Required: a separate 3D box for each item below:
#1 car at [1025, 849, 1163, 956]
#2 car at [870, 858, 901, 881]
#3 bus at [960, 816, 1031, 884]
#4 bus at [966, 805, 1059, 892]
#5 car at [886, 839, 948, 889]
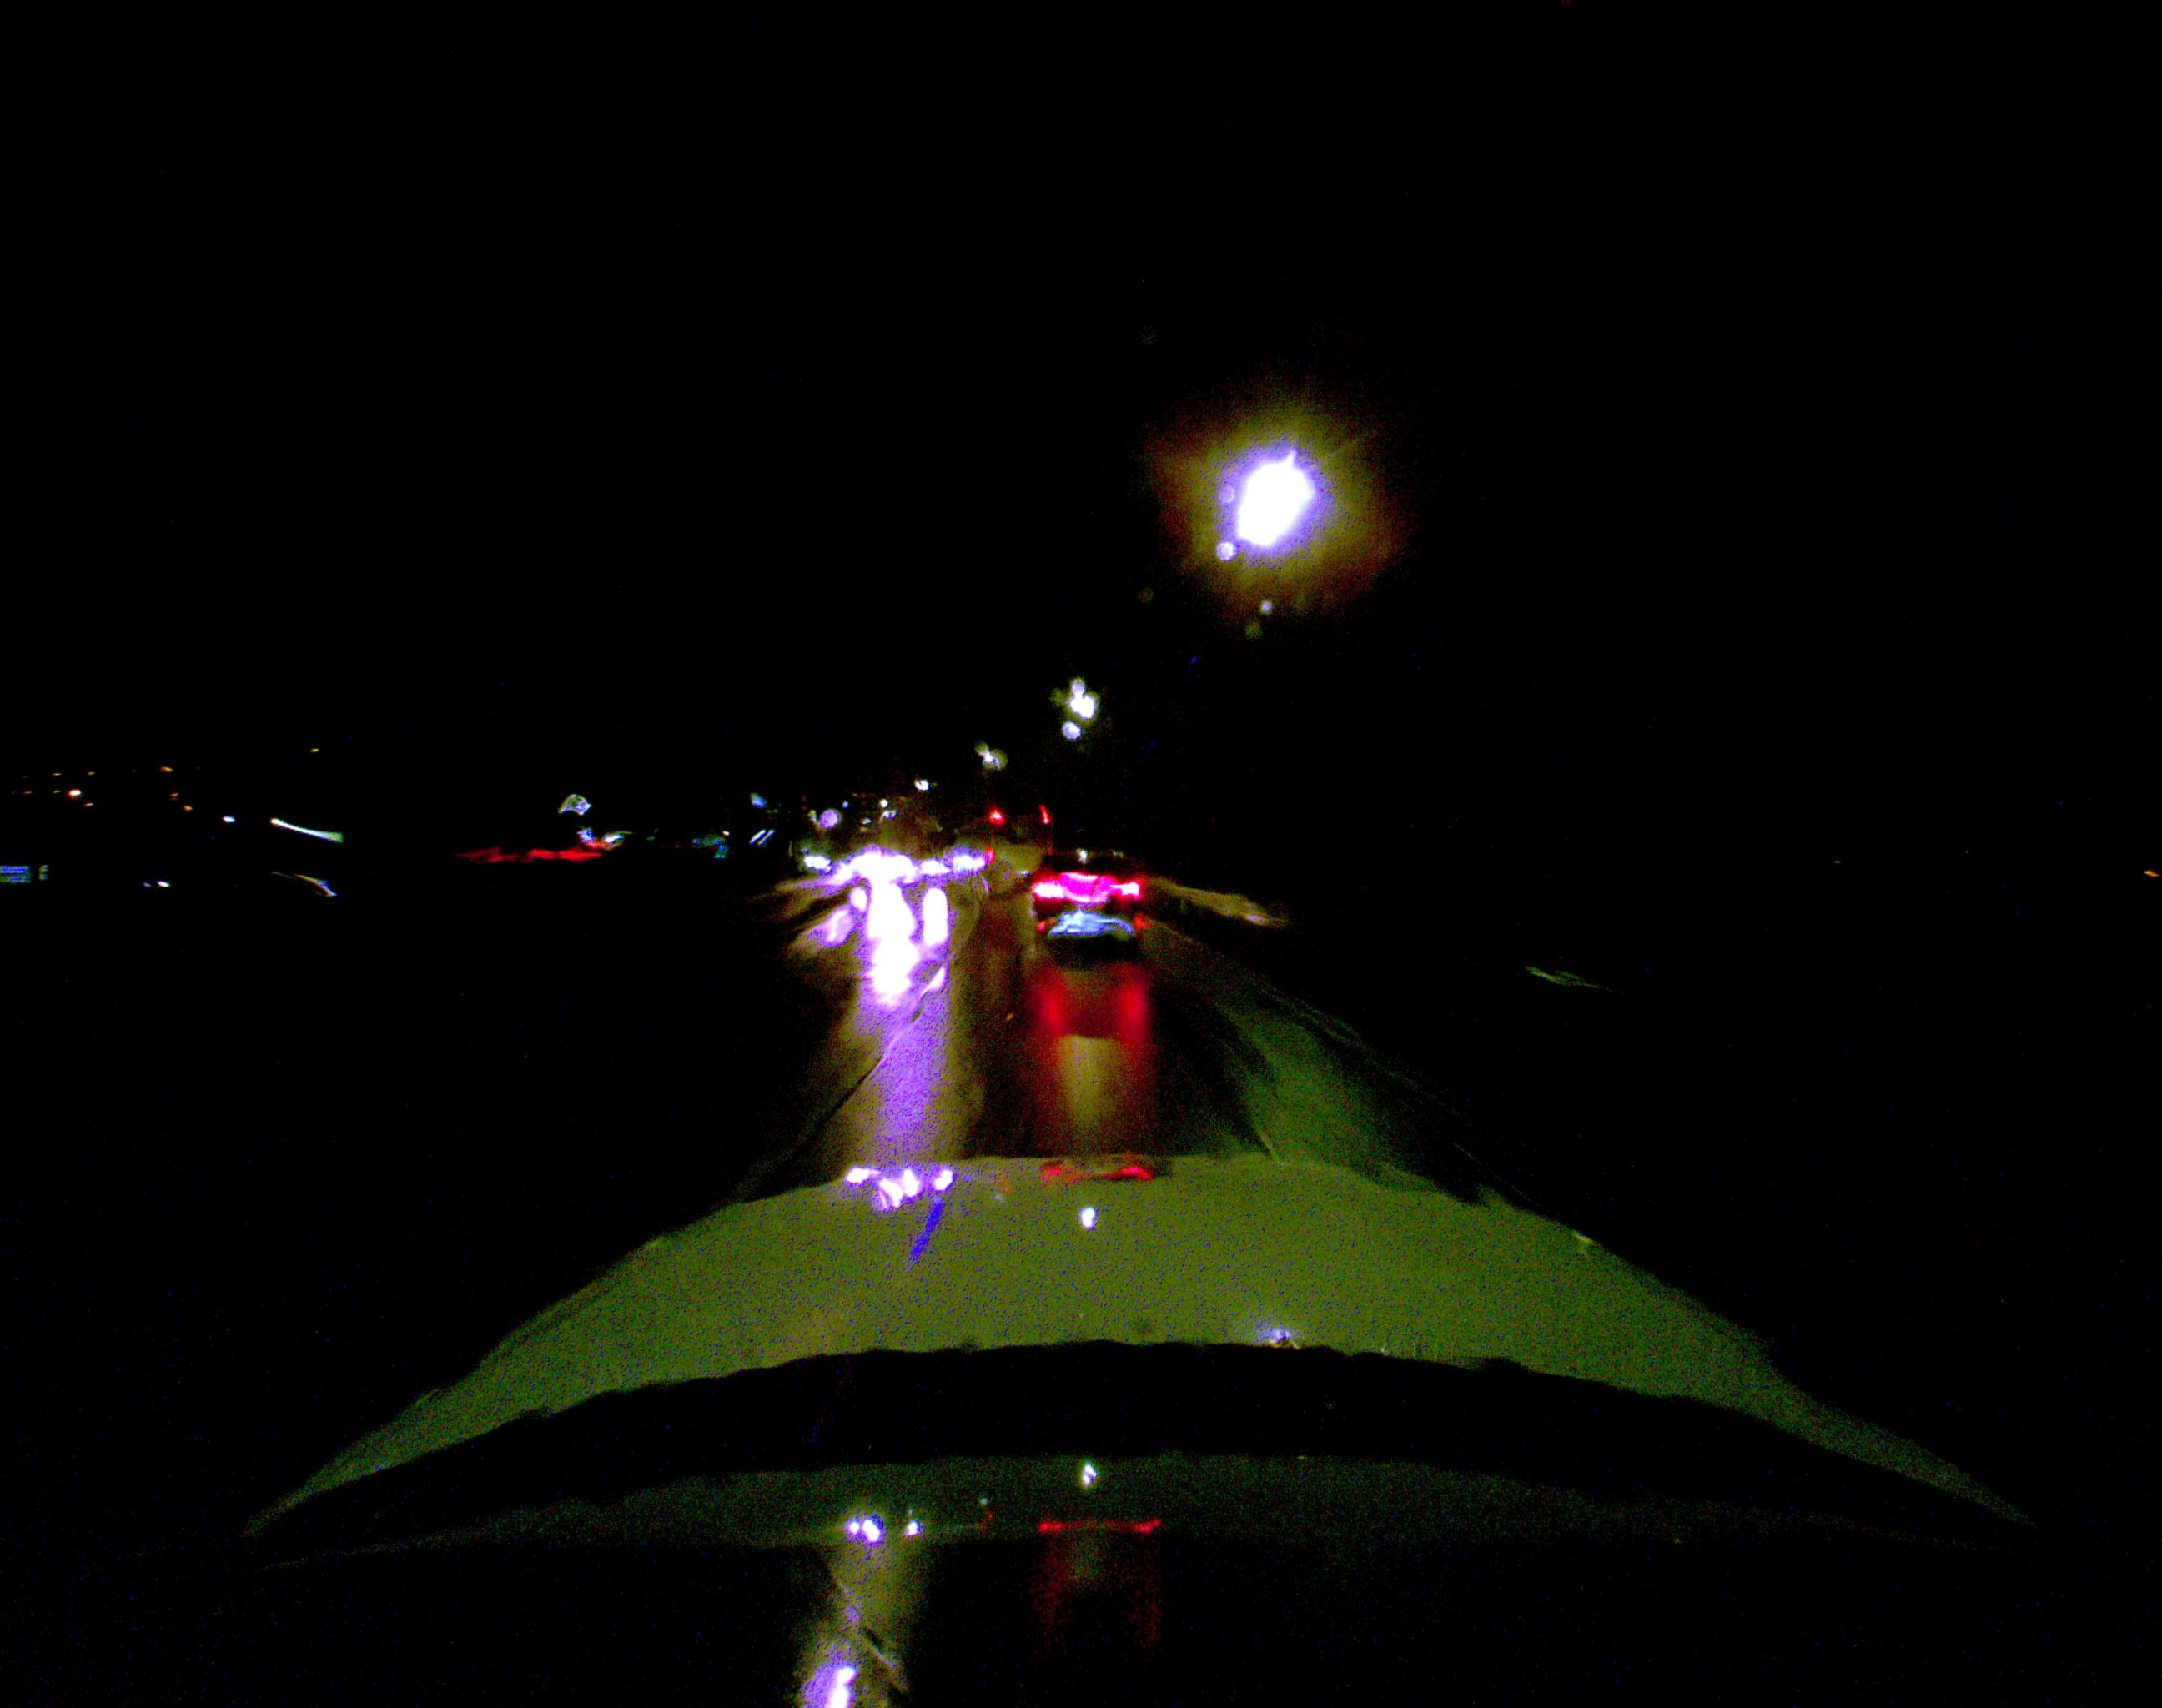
[{"bbox_3d":[0.134,0.688,13.792,1.988,1.524,3.997,0,0,-2],"label":"car"},{"bbox_3d":[-13.567,1.048,56.354,1.734,1.405,3.839,-2,1,-18],"label":"car"},{"bbox_3d":[-4.838,-0.218,44.181,3.044,3.212,9.017,-2,0,-11],"label":"bus"},{"bbox_3d":[-3.216,-0.213,35.331,3.044,3.212,9.017,-2,0,-11],"label":"bus"},{"bbox_3d":[-7.296,0.385,36.198,2.451,1.988,5.472,-1,0,-12],"label":"car"}]
